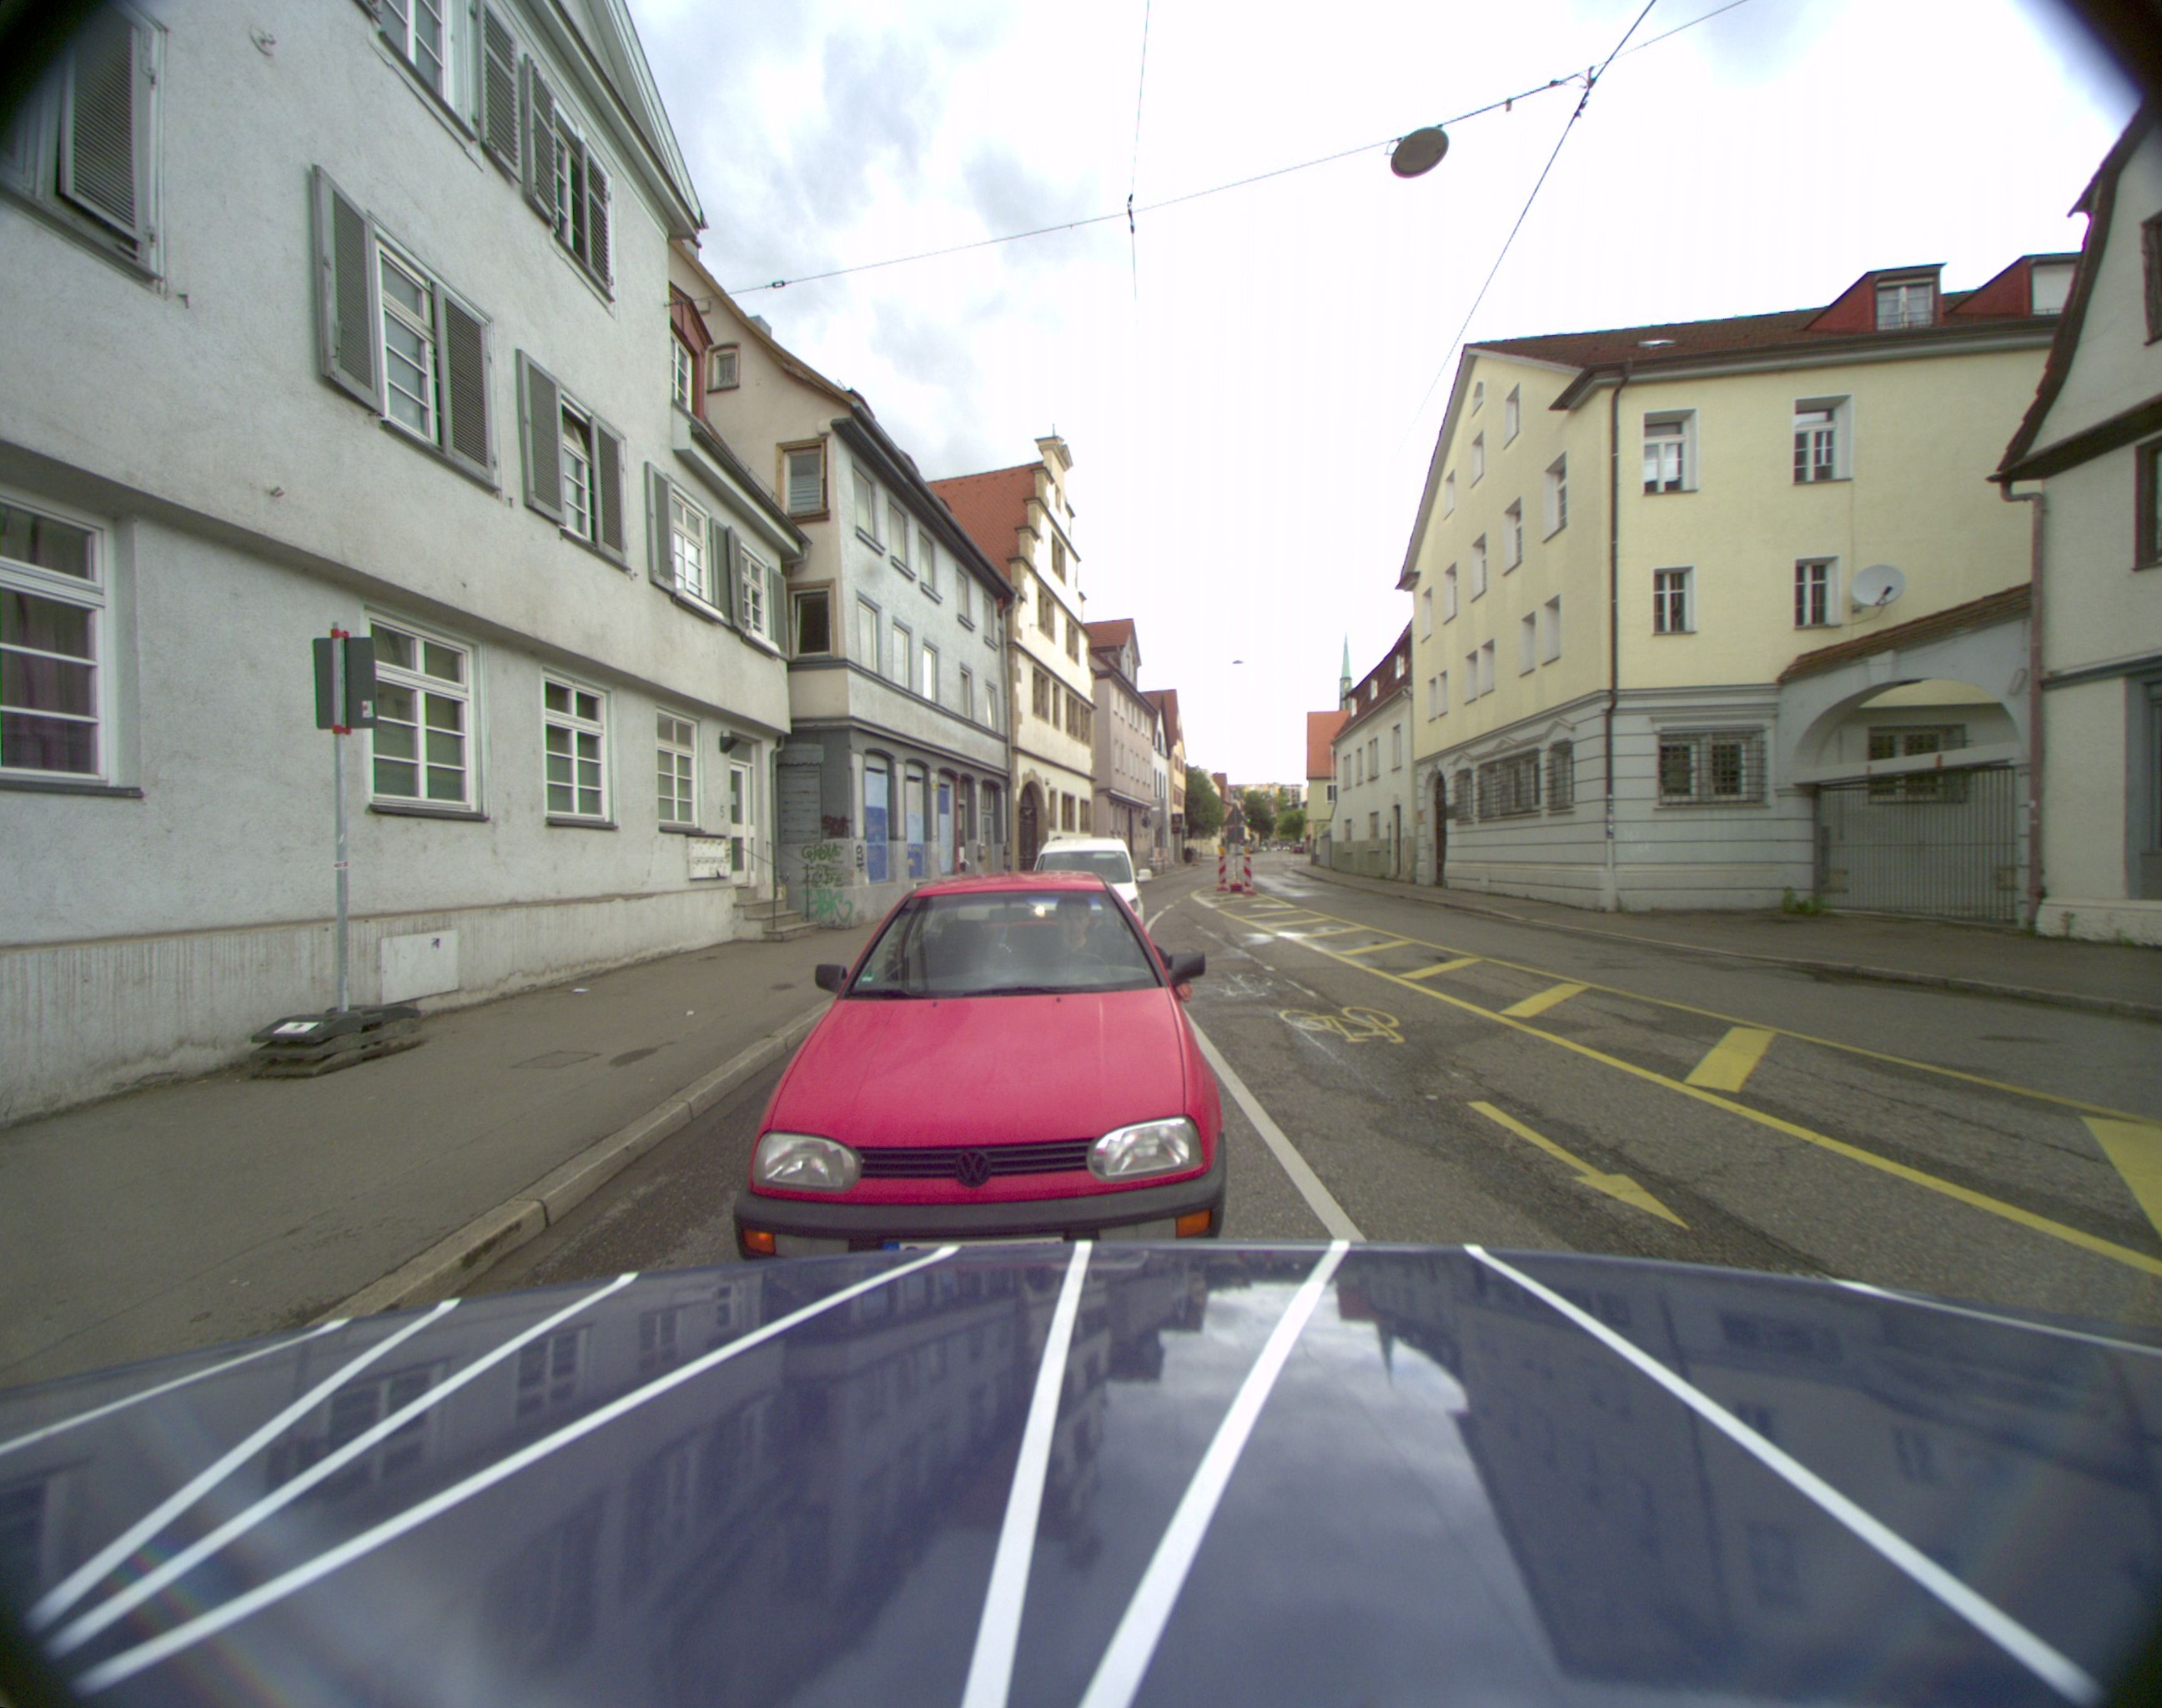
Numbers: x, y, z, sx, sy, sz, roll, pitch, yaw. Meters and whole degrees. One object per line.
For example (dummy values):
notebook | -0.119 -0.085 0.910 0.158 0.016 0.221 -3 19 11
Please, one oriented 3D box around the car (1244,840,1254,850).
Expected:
car | 34.080 -1.780 154.260 1.996 2.002 4.004 -1 0 13

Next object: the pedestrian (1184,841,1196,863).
pedestrian | 9.152 -0.162 63.829 0.877 1.888 0.898 -1 0 14

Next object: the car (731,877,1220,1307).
car | -0.380 0.984 4.941 1.804 1.458 4.000 -4 0 1

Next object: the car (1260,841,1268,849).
car | 44.977 -2.183 186.812 1.996 2.002 4.004 -1 0 13

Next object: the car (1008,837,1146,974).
car | -0.020 0.690 12.237 1.804 1.781 4.349 -1 0 1

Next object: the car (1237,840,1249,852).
car | 28.469 -1.364 133.503 1.996 2.002 4.004 -1 0 13

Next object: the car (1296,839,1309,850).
car | 42.743 -1.798 146.581 2.057 2.002 4.004 -1 0 13
